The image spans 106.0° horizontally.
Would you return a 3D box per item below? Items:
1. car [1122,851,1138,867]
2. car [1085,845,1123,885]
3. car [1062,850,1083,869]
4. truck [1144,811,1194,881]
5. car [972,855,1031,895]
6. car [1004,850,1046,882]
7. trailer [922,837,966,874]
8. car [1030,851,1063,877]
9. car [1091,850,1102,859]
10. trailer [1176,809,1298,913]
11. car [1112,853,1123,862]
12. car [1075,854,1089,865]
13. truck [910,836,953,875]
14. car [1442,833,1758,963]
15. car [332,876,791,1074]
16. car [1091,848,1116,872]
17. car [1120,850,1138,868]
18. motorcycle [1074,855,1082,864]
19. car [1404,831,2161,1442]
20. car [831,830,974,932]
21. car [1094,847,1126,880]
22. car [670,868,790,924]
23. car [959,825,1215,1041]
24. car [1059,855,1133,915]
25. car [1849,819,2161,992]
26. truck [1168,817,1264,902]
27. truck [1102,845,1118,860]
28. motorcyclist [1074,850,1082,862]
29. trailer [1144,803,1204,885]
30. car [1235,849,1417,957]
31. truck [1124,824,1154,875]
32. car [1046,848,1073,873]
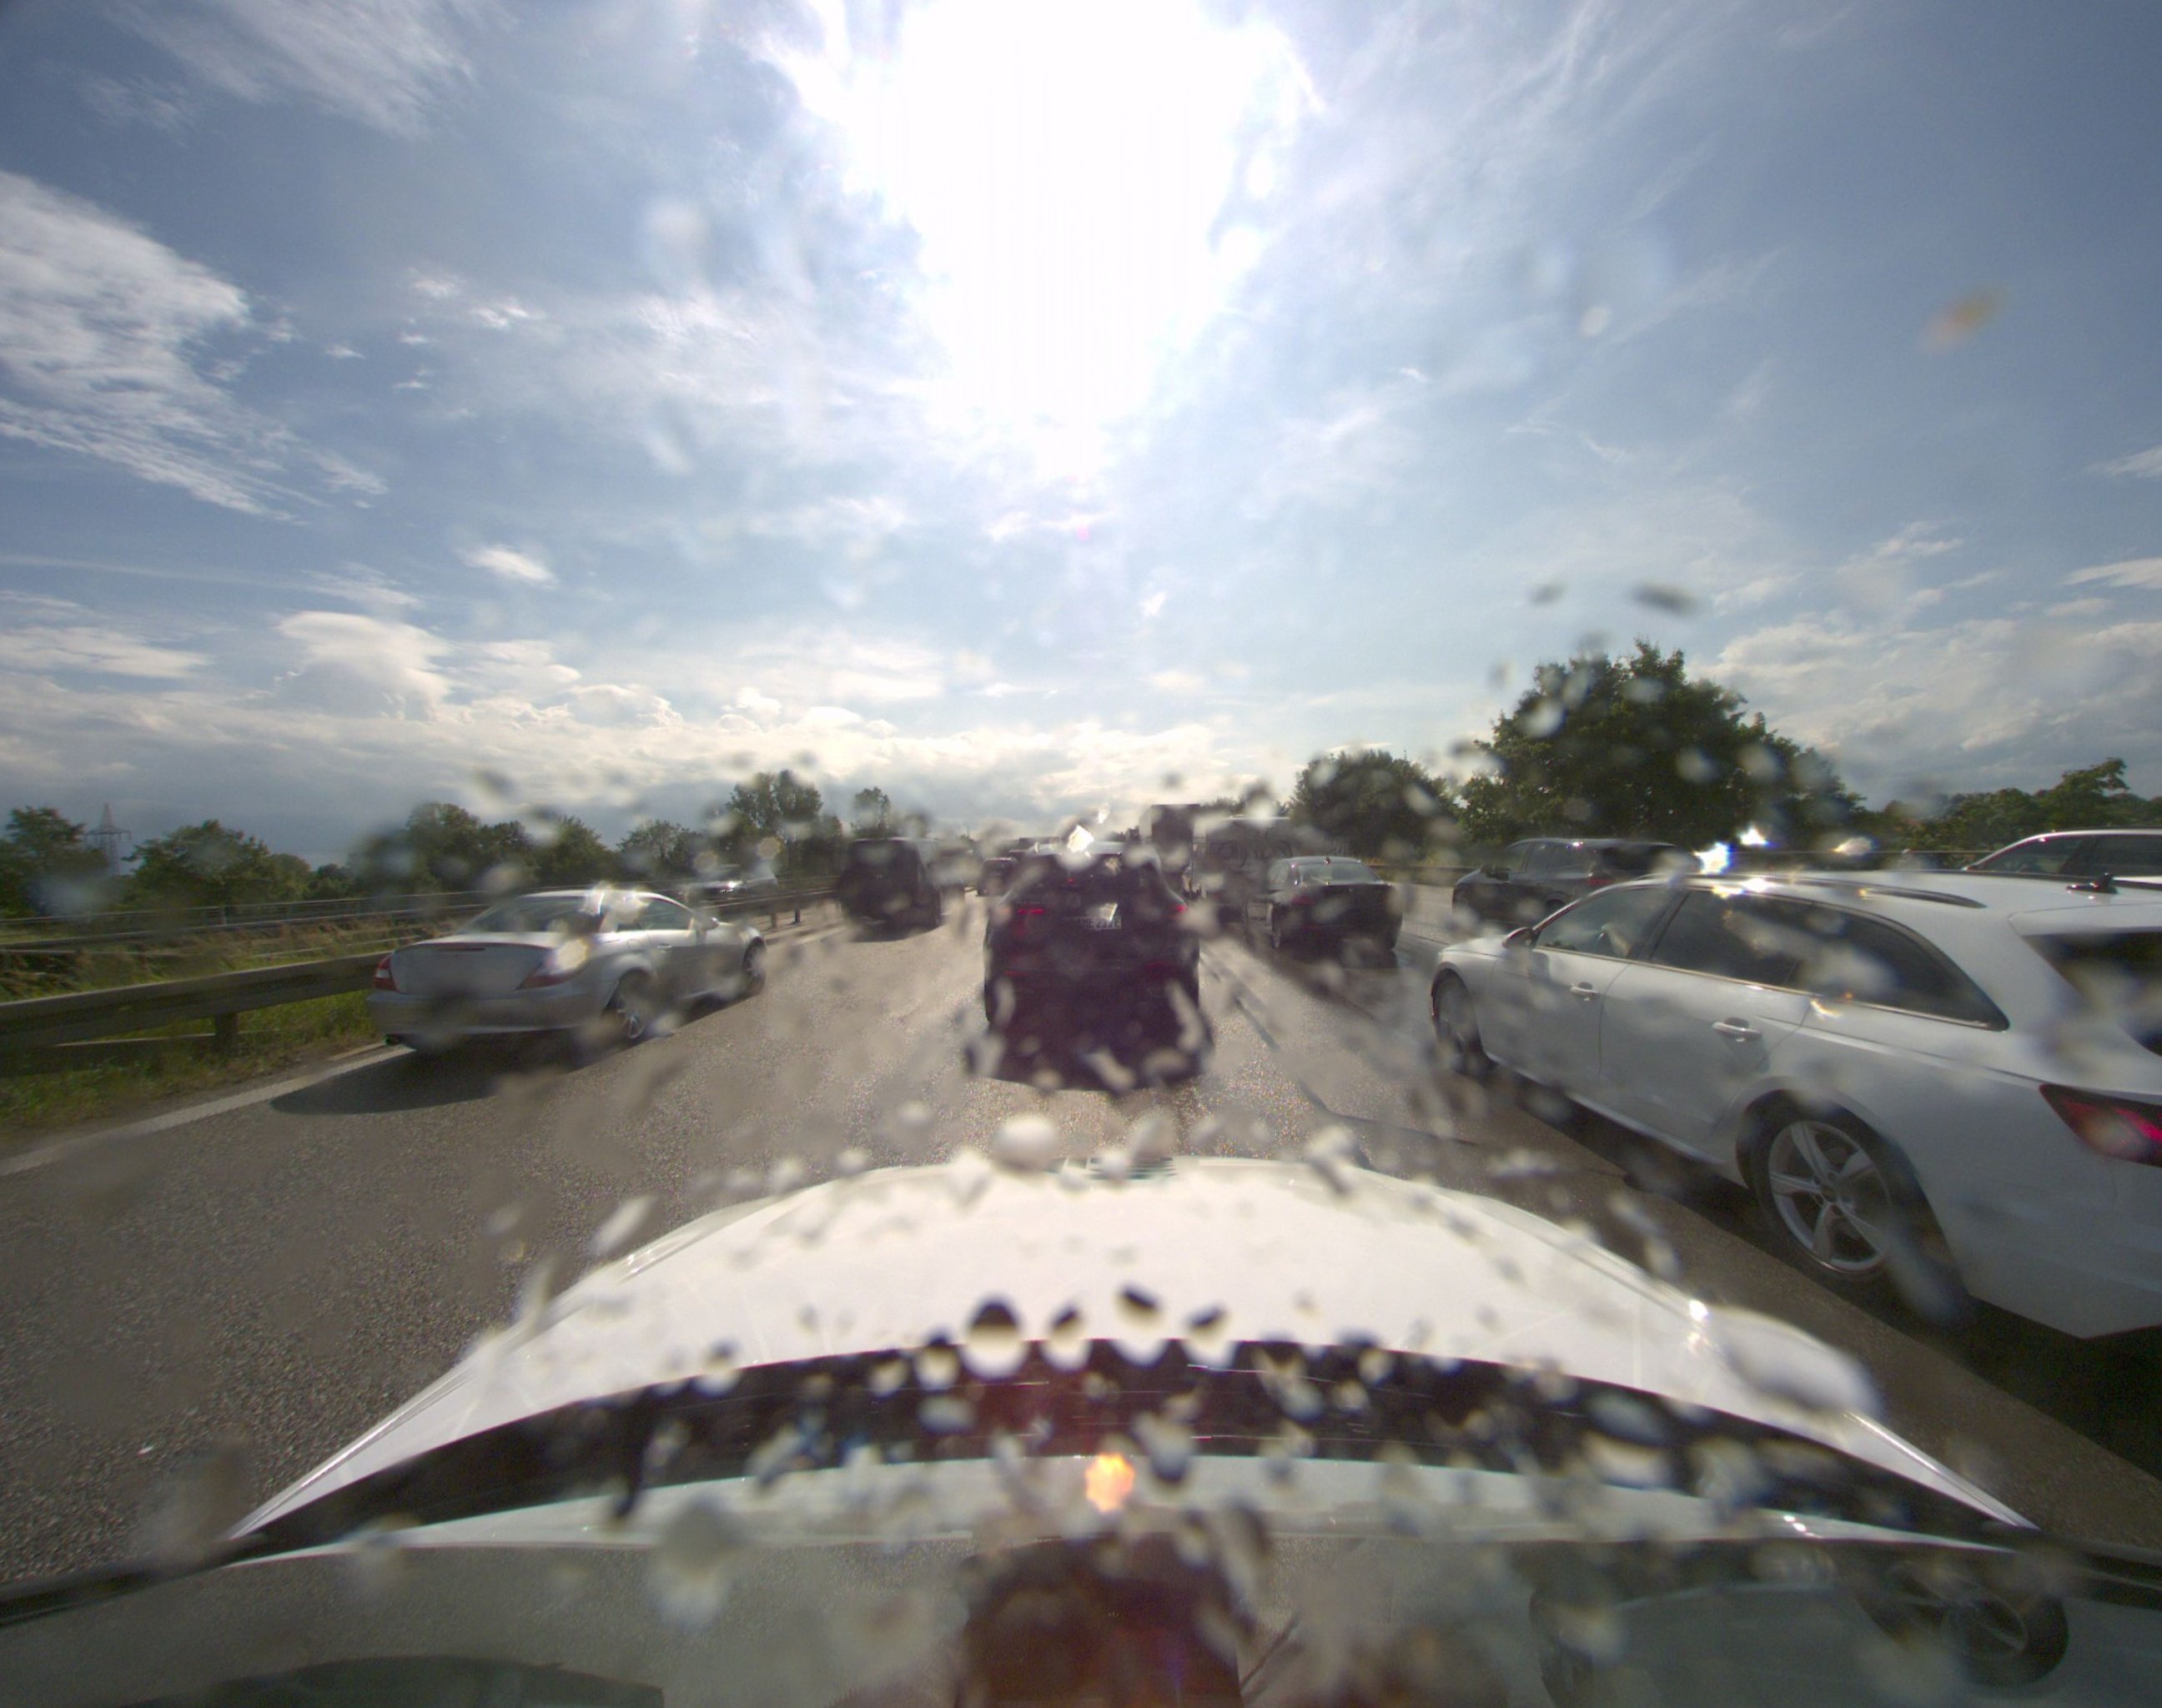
[{"bbox_3d":[6.378,0.628,107.264,1.985,2.013,4.003,2,0,3],"label":"car"},{"bbox_3d":[1.284,0.568,43.979,1.985,2.013,4.003,-1,0,3],"label":"car"},{"bbox_3d":[-0.902,0.601,87.117,1.985,2.013,4.003,0,0,3],"label":"car"},{"bbox_3d":[5.538,-0.489,51.954,2.982,4.166,5.246,-1,0,4],"label":"truck"},{"bbox_3d":[-3.188,0.813,33.476,1.750,1.516,4.212,-1,0,3],"label":"car"},{"bbox_3d":[-3.059,0.650,45.179,1.987,1.720,4.000,-1,0,1],"label":"car"},{"bbox_3d":[-16.524,0.236,99.019,2.994,4.103,10.480,-3,0,2],"label":"trailer"},{"bbox_3d":[-2.457,0.678,59.243,1.985,1.772,4.003,-2,0,3],"label":"car"},{"bbox_3d":[2.945,0.074,153.590,1.870,1.760,3.998,-1,0,-1],"label":"car"},{"bbox_3d":[4.133,0.182,22.871,2.365,2.483,6.526,-1,0,2],"label":"trailer"},{"bbox_3d":[6.879,0.653,154.669,1.870,1.760,3.998,-1,0,-1],"label":"car"},{"bbox_3d":[0.153,0.799,125.070,1.985,1.616,4.003,2,0,3],"label":"car"},{"bbox_3d":[-16.752,0.207,91.973,2.994,4.103,7.689,-3,0,2],"label":"truck"},{"bbox_3d":[7.541,0.552,12.544,1.986,1.581,4.655,-1,0,2],"label":"car"},{"bbox_3d":[-4.473,0.925,7.905,1.718,1.278,4.065,-1,0,2],"label":"car"},{"bbox_3d":[1.946,0.496,70.235,1.985,2.013,4.003,-2,0,3],"label":"car"},{"bbox_3d":[5.323,0.565,90.657,1.985,2.013,4.003,0,0,3],"label":"car"},{"bbox_3d":[-0.433,0.828,115.958,1.069,1.271,2.691,-1,0,2],"label":"motorcycle"},{"bbox_3d":[3.430,0.729,4.086,1.821,1.425,4.509,1,-2,0],"label":"car"},{"bbox_3d":[-3.980,0.549,19.178,1.986,2.013,5.271,-1,0,2],"label":"car"},{"bbox_3d":[1.945,0.603,54.029,1.985,2.013,4.003,2,0,3],"label":"car"},{"bbox_3d":[-11.088,1.277,26.050,1.986,1.585,4.001,-1,0,2],"label":"car"},{"bbox_3d":[0.117,0.635,8.628,1.986,1.661,4.408,-1,0,2],"label":"car"},{"bbox_3d":[0.466,0.759,21.781,1.750,1.387,3.948,-1,0,3],"label":"car"},{"bbox_3d":[10.810,0.470,8.478,1.741,1.586,4.290,-1,0,3],"label":"car"},{"bbox_3d":[4.277,0.186,26.800,2.365,2.477,5.758,-1,0,2],"label":"truck"},{"bbox_3d":[7.947,-0.481,225.033,3.833,4.017,11.212,0,0,-2],"label":"truck"},{"bbox_3d":[-0.433,0.341,116.120,1.059,1.718,0.785,-1,-1,2],"label":"motorcyclist"},{"bbox_3d":[5.126,-0.491,46.137,2.993,4.166,8.545,-1,0,4],"label":"trailer"},{"bbox_3d":[3.847,0.695,13.603,1.841,1.464,4.257,-2,0,2],"label":"car"},{"bbox_3d":[5.726,-0.444,81.018,2.493,4.829,7.544,-1,0,1],"label":"truck"},{"bbox_3d":[-1.803,0.543,69.690,1.985,2.013,4.003,2,0,3],"label":"car"}]
